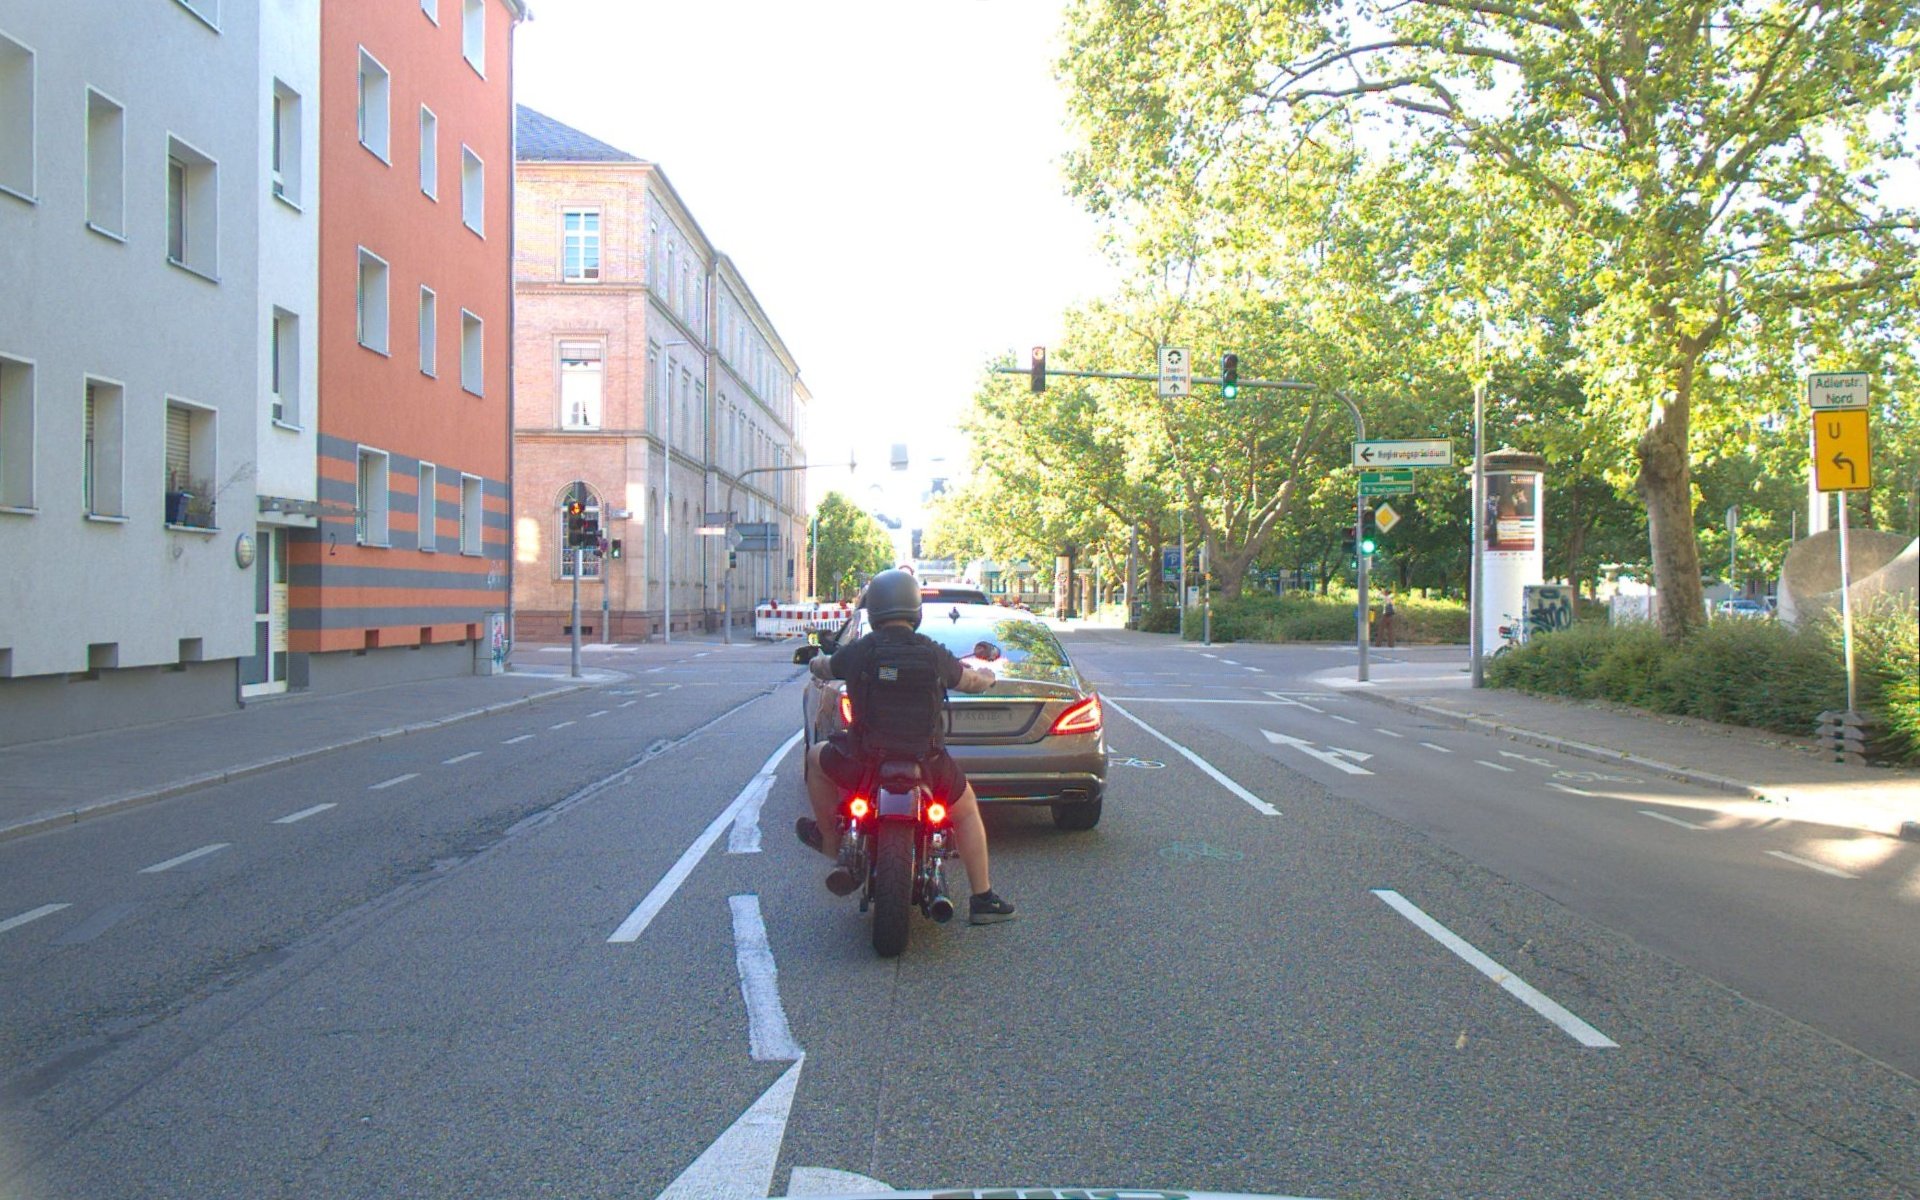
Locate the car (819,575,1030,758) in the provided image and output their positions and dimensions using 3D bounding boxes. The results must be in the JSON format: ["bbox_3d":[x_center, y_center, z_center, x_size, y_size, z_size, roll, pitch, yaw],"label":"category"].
[{"bbox_3d":[-0.361,0.633,17.540,1.953,1.695,3.999,1,0,-1],"label":"car"}]

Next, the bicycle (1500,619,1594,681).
[{"bbox_3d":[9.789,0.838,27.597,1.452,0.997,0.299,1,-1,5],"label":"bicycle"}]

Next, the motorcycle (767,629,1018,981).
[{"bbox_3d":[-0.275,0.807,7.558,0.961,1.297,2.407,0,0,-1],"label":"motorcycle"}]

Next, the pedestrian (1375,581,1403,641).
[{"bbox_3d":[13.181,0.340,50.802,0.664,1.803,0.616,1,-1,29],"label":"pedestrian"}]

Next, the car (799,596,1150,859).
[{"bbox_3d":[-0.112,0.710,11.621,1.834,1.469,4.422,0,0,-8],"label":"car"}]

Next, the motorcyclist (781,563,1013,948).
[{"bbox_3d":[-0.271,0.648,7.531,0.961,1.606,1.248,0,0,-1],"label":"motorcyclist"}]
